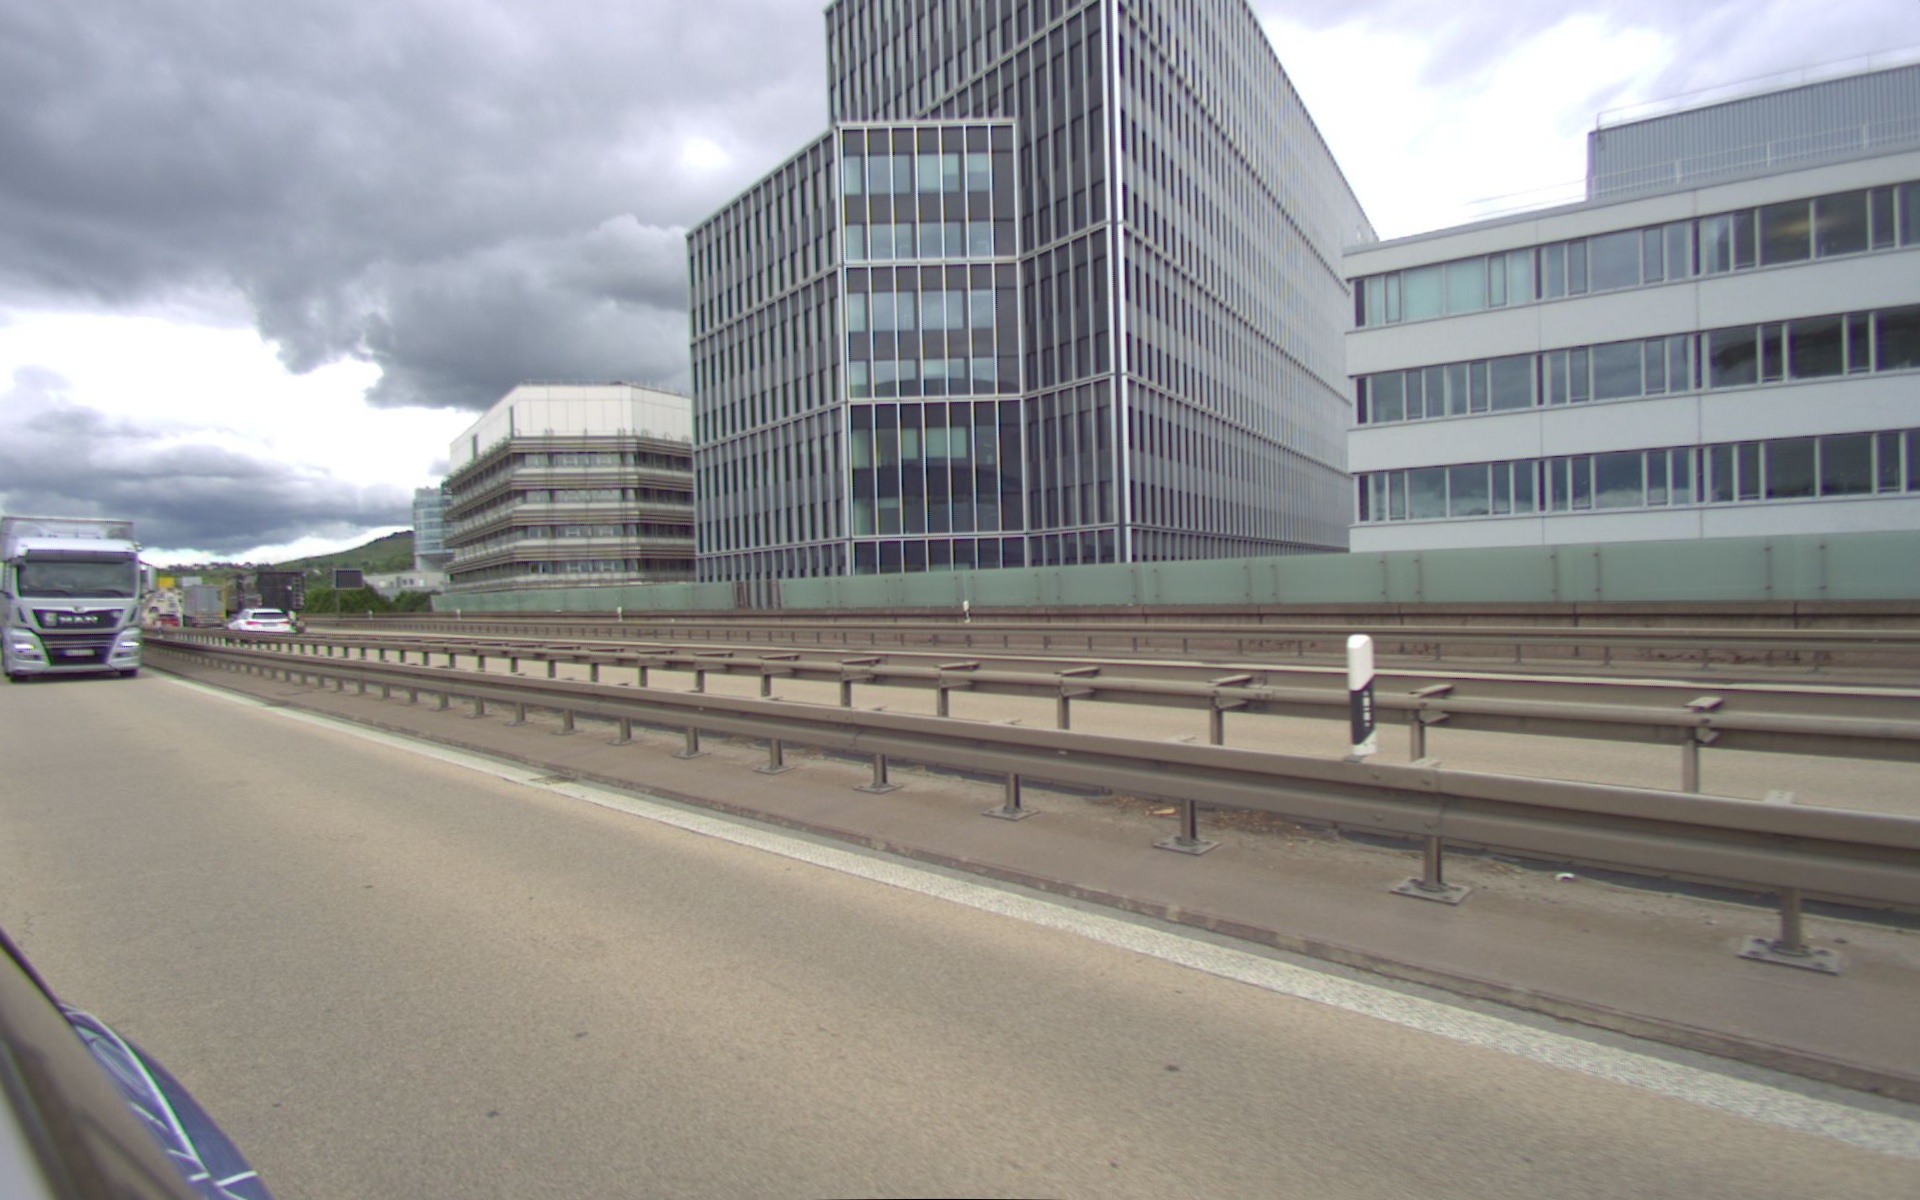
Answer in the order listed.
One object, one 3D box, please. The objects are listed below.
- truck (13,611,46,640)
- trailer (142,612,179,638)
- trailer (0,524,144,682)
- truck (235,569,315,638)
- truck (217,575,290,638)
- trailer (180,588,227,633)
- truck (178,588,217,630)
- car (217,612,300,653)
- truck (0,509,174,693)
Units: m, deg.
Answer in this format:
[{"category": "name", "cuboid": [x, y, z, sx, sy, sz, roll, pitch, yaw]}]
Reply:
[{"category": "truck", "cuboid": [-105.958, 2.860, 115.317, 2.301, 3.262, 6.699, 0, 0, -38]}, {"category": "trailer", "cuboid": [-64.920, 2.030, 82.181, 1.970, 2.029, 4.003, 0, 0, -44]}, {"category": "trailer", "cuboid": [-27.782, 0.093, 31.097, 3.144, 4.056, 11.775, -2, 1, -44]}, {"category": "truck", "cuboid": [-43.482, 0.215, 64.106, 3.020, 4.096, 8.674, 0, 0, -42]}, {"category": "truck", "cuboid": [-50.331, 0.479, 71.941, 3.019, 4.096, 11.874, 0, 0, -41]}, {"category": "trailer", "cuboid": [-72.411, 0.881, 96.735, 2.809, 4.017, 11.904, 0, 1, -40]}, {"category": "truck", "cuboid": [-76.411, 0.871, 101.405, 2.738, 4.110, 5.654, 0, -1, -41]}, {"category": "car", "cuboid": [-30.212, 1.339, 43.531, 4.807, 1.618, 1.972, -1, 0, 43]}, {"category": "truck", "cuboid": [-22.159, -0.002, 25.350, 5.691, 4.067, 3.099, -1, 1, 45]}]
